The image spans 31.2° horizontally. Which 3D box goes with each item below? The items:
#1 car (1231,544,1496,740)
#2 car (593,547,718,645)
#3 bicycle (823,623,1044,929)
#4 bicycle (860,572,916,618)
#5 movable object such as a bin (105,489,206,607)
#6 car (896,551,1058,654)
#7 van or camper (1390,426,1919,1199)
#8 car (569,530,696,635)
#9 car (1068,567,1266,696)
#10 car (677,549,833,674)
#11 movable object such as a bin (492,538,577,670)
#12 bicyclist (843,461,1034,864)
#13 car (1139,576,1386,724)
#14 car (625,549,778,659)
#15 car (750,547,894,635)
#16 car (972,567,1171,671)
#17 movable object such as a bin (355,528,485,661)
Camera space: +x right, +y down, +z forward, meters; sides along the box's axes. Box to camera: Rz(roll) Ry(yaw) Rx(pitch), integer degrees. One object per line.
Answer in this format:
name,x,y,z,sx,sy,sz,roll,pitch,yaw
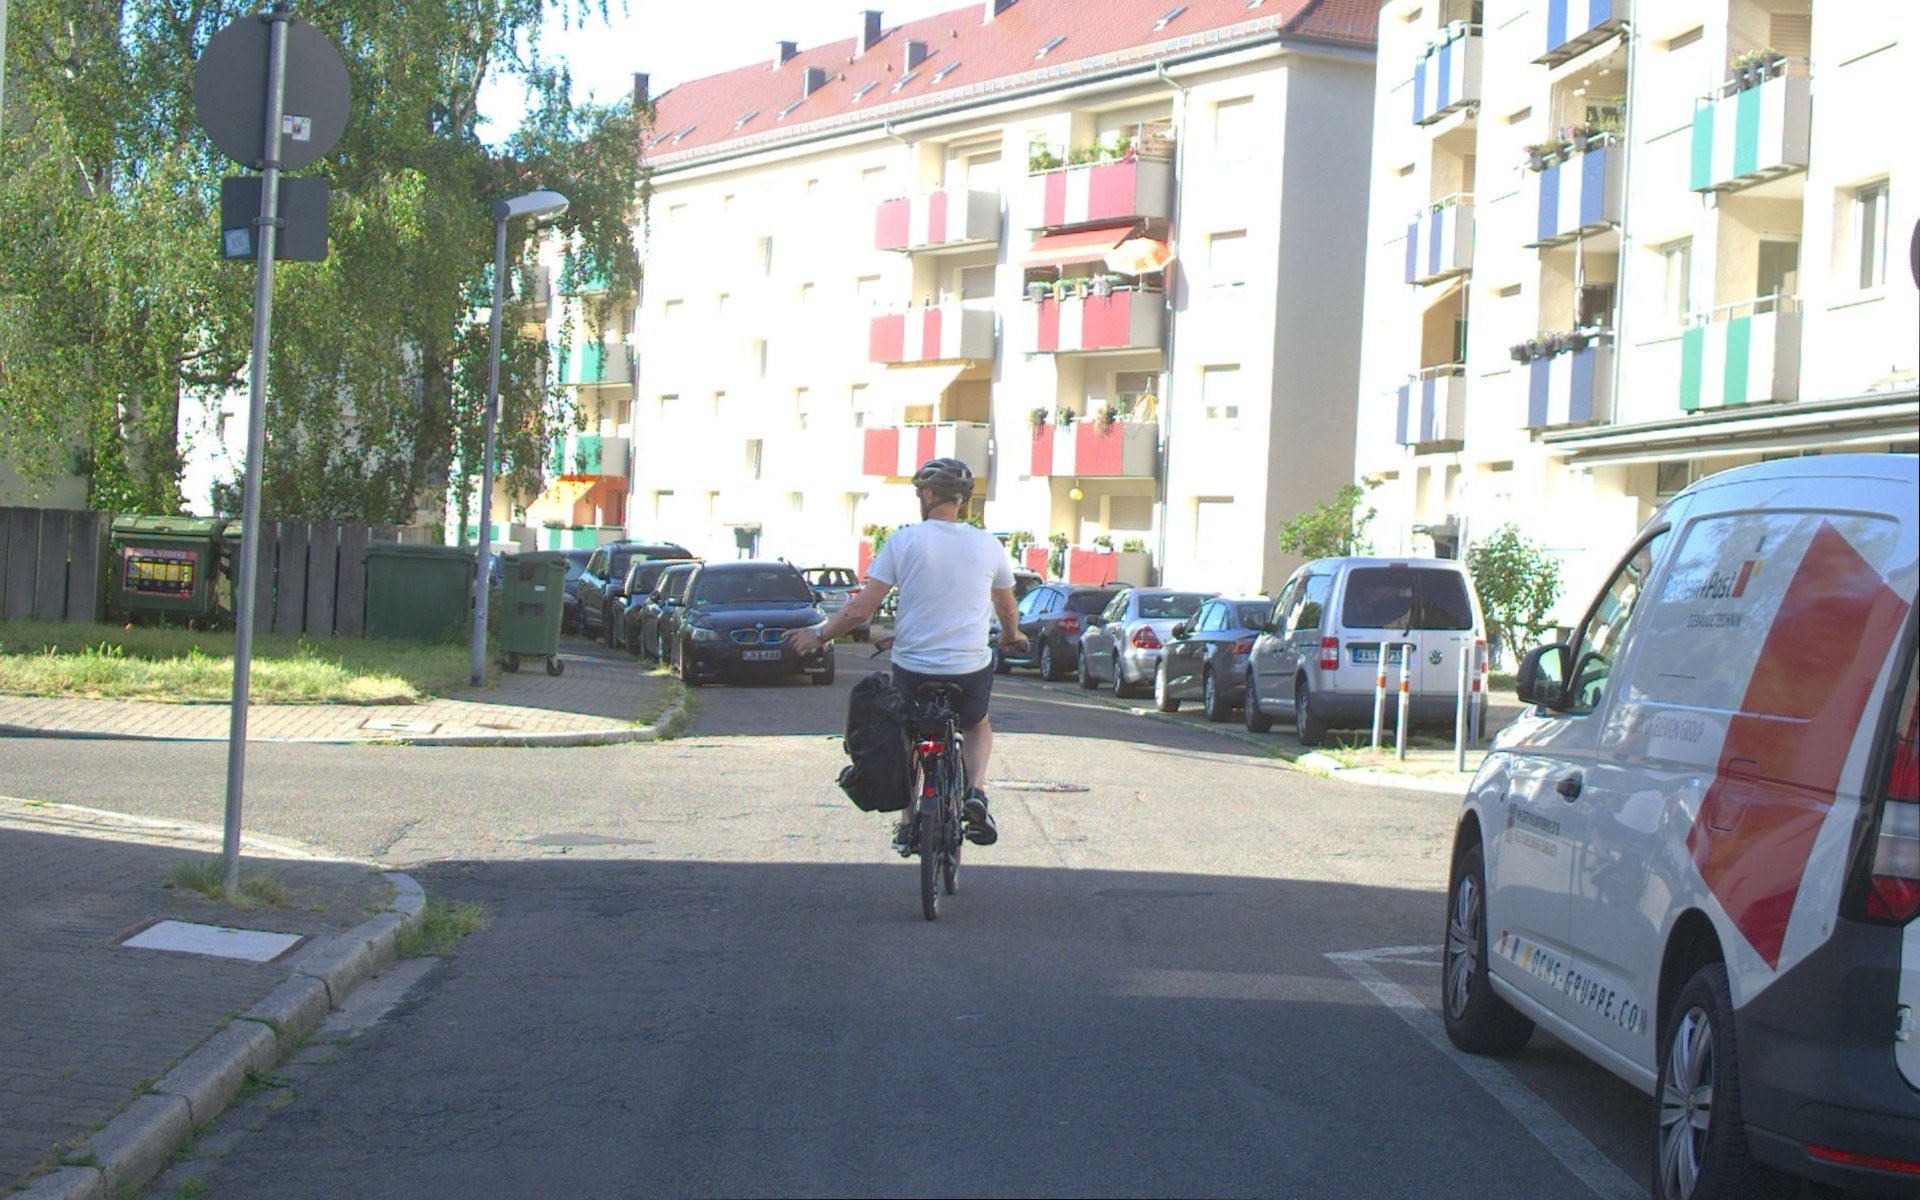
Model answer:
car,3.931,0.363,34.131,1.746,1.818,4.132,0,1,-6
car,-4.703,-0.089,52.704,1.555,1.437,3.969,0,1,-10
bicycle,-0.081,0.682,14.105,0.627,1.111,1.815,0,1,9
bicycle,-1.684,-0.122,80.011,0.617,0.975,1.896,-1,3,-23
movable object such as a bin,-10.095,-0.654,43.186,1.060,1.430,1.003,1,1,-4
car,0.249,0.074,58.499,1.693,1.650,4.391,2,-1,-14
van or camper,2.442,0.606,8.832,1.792,1.741,4.735,7,1,-1
car,-5.576,-0.321,58.138,1.555,1.708,4.339,0,1,-13
car,2.686,0.380,45.744,1.677,1.442,4.725,4,1,-7
car,-2.572,0.101,42.322,1.677,1.448,4.621,0,1,-6
movable object such as a bin,-4.669,0.036,37.793,0.775,1.388,1.417,3,1,-4
bicyclist,-0.075,0.238,14.045,0.596,1.573,0.907,2,1,9
car,3.407,0.532,39.593,1.677,1.402,4.547,4,1,-9
car,-3.611,0.019,47.394,1.677,1.437,4.281,0,1,-10
car,-2.871,-0.205,70.715,1.765,1.630,4.043,1,2,-20
car,1.618,0.255,51.633,1.693,1.427,4.689,1,0,-15
movable object such as a bin,-5.968,-0.064,38.013,1.220,1.375,0.767,4,0,1
